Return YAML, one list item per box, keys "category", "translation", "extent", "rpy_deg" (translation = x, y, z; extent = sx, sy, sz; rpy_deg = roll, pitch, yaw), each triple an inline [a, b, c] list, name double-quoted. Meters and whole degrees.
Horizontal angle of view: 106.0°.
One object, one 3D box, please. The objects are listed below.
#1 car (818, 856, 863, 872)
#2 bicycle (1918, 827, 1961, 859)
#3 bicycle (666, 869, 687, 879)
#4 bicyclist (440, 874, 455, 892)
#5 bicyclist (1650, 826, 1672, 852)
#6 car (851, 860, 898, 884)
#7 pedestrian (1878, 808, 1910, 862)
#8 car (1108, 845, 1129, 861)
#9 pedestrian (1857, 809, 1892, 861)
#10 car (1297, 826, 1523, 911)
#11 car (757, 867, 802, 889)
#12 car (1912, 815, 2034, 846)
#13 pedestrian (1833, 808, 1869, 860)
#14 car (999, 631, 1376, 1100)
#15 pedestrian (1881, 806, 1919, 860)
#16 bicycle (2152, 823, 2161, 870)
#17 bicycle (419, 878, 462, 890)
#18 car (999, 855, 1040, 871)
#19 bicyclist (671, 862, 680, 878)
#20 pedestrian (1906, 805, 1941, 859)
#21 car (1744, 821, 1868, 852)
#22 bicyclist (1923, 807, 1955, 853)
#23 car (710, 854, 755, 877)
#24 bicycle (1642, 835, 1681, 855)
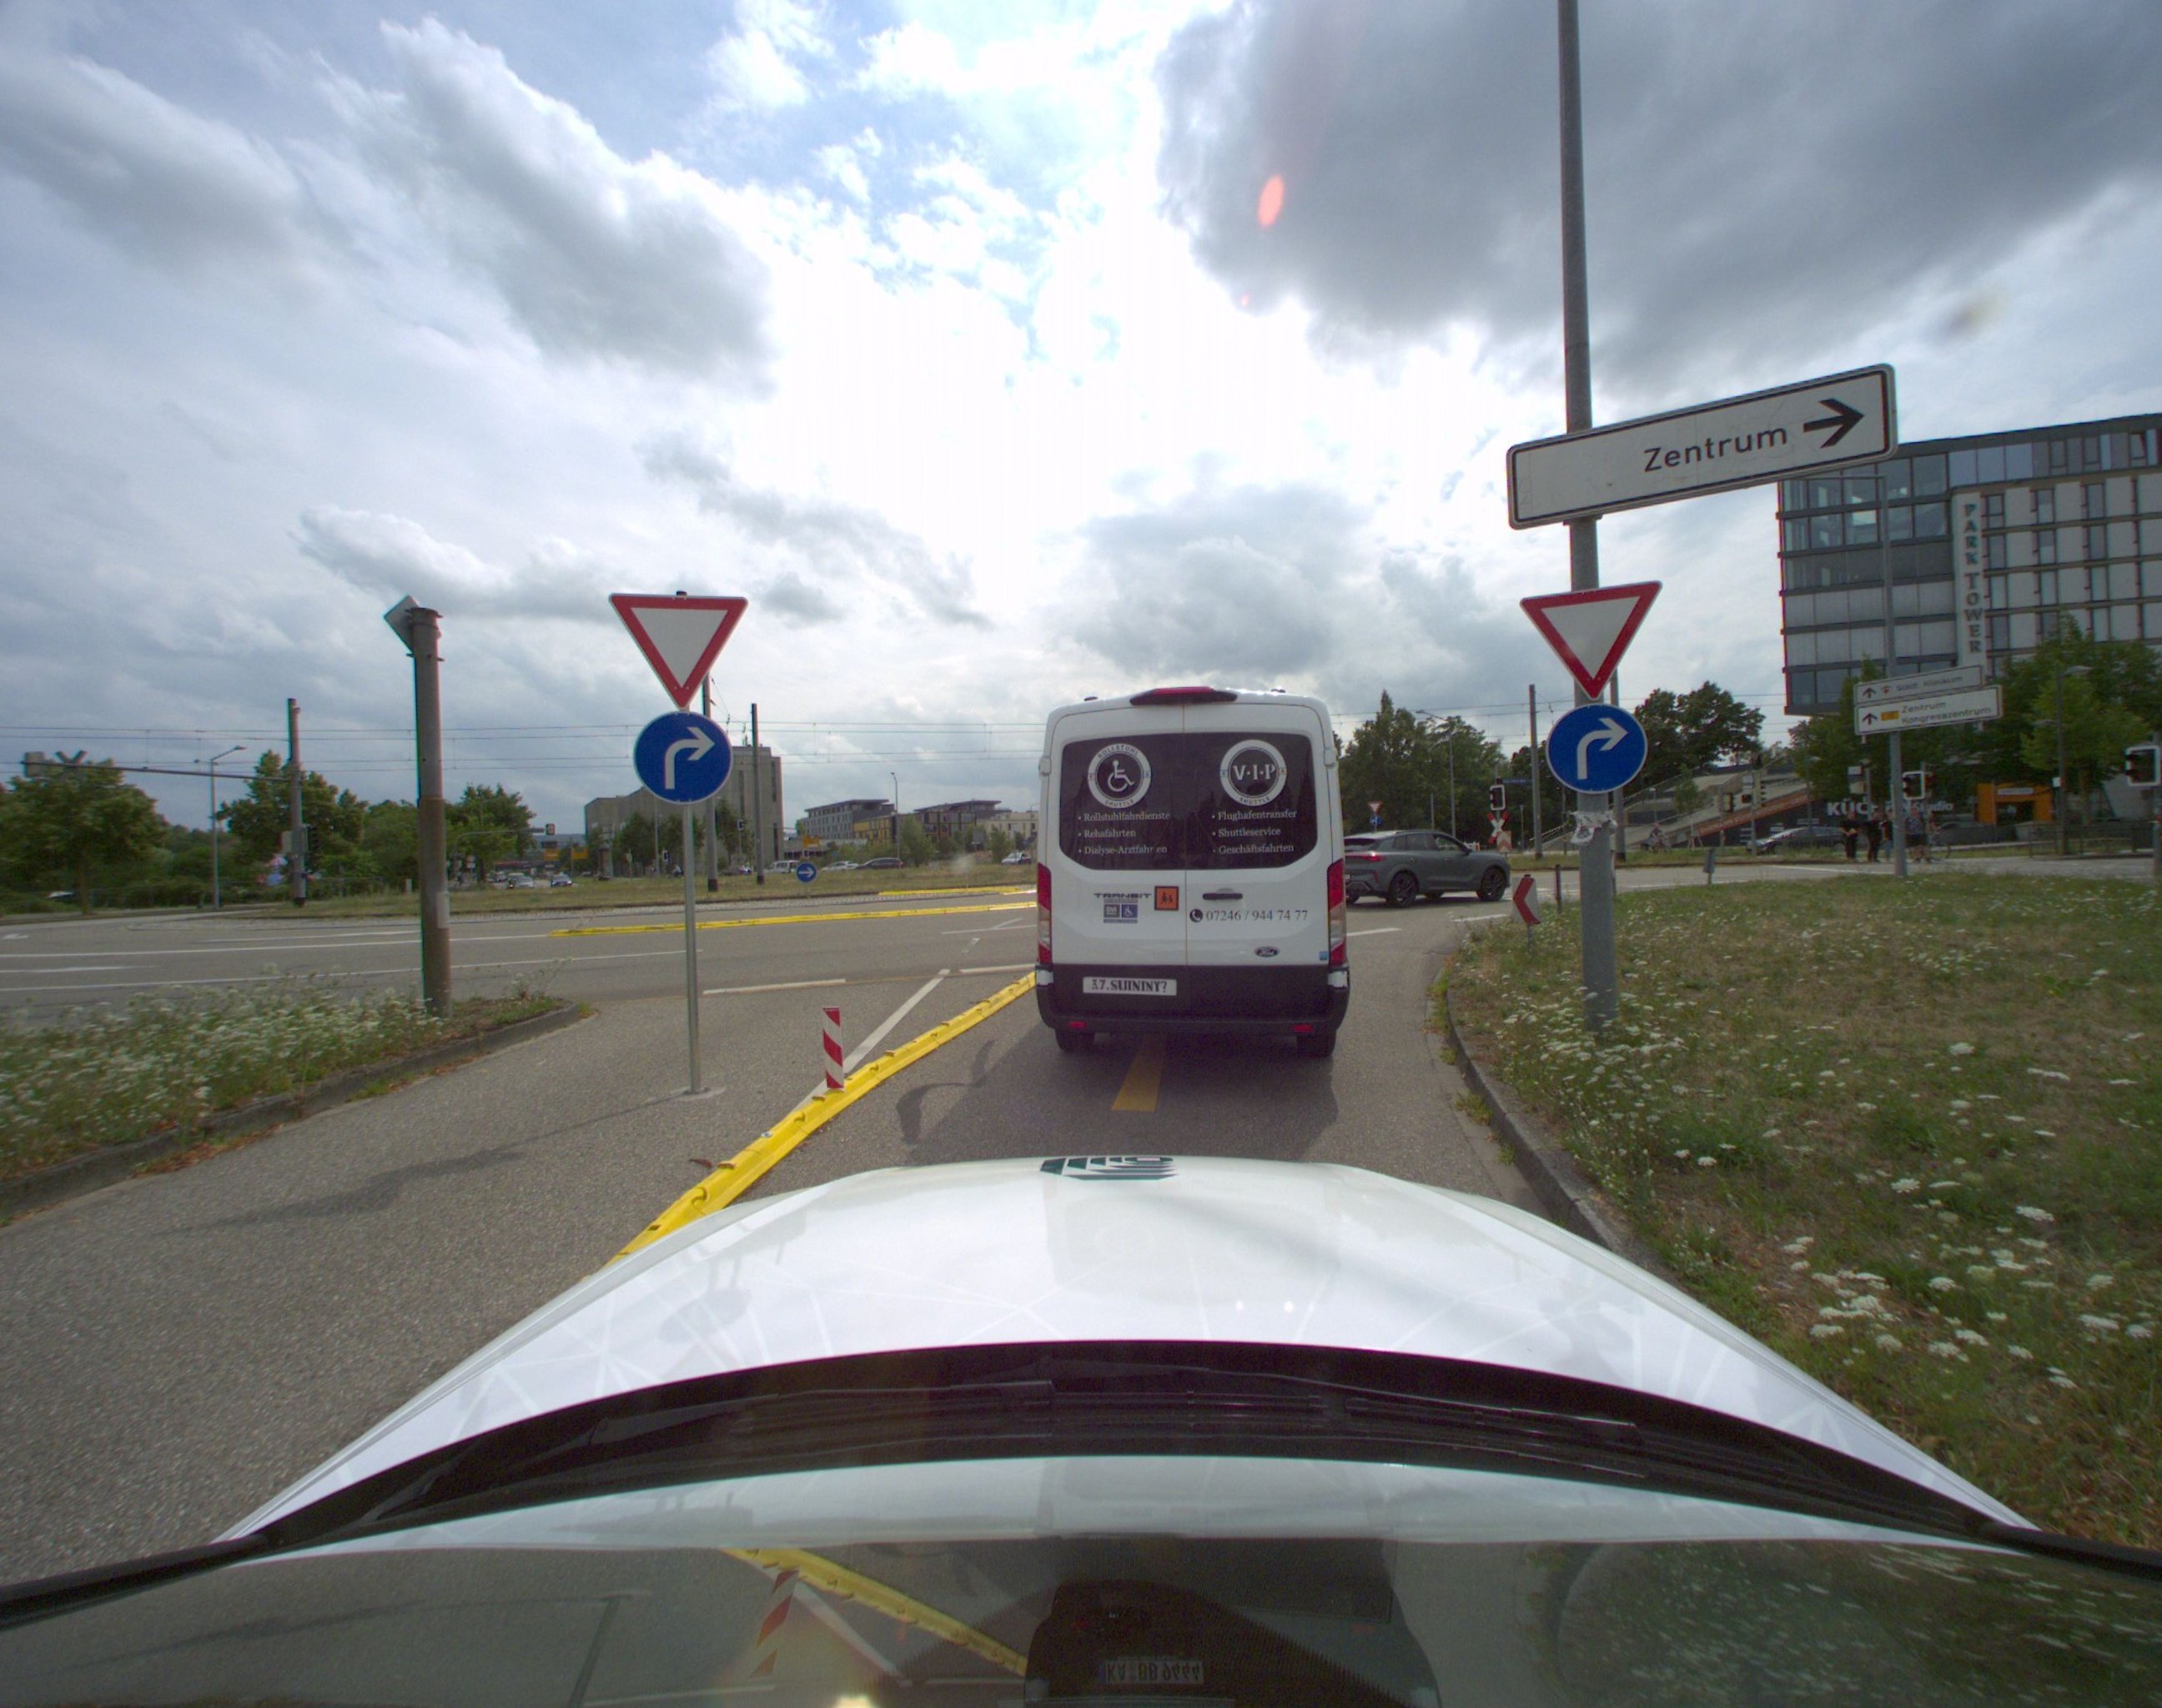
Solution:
- category: "car"
  translation: [-23.860, 1.027, 80.832]
  extent: [3.952, 1.464, 1.843]
  rpy_deg: [-2, -1, 22]
- category: "bicycle"
  translation: [30.286, -0.393, 28.738]
  extent: [0.541, 1.058, 1.724]
  rpy_deg: [-2, 0, 30]
- category: "bicycle"
  translation: [-41.113, 2.039, 82.702]
  extent: [1.834, 0.877, 0.527]
  rpy_deg: [-2, 0, -19]
- category: "bicyclist"
  translation: [-53.290, 2.434, 68.504]
  extent: [0.853, 1.409, 0.678]
  rpy_deg: [-2, 0, 35]
- category: "bicyclist"
  translation: [30.420, -0.800, 42.717]
  extent: [0.637, 1.317, 0.674]
  rpy_deg: [-2, 0, -5]
- category: "car"
  translation: [-18.302, 1.561, 72.319]
  extent: [3.994, 2.014, 1.990]
  rpy_deg: [-1, -1, -15]
- category: "pedestrian"
  translation: [28.448, -0.669, 28.508]
  extent: [0.527, 1.862, 0.554]
  rpy_deg: [-2, 0, 6]
- category: "car"
  translation: [4.867, -0.102, 105.051]
  extent: [1.979, 1.849, 4.015]
  rpy_deg: [-2, -1, 14]
- category: "pedestrian"
  translation: [27.783, -0.658, 28.511]
  extent: [0.628, 1.781, 0.554]
  rpy_deg: [-2, 0, 6]
- category: "car"
  translation: [7.221, 0.267, 17.859]
  extent: [4.482, 1.551, 2.048]
  rpy_deg: [-2, 0, -25]
- category: "car"
  translation: [-29.126, 2.329, 78.660]
  extent: [4.305, 2.014, 2.013]
  rpy_deg: [-2, -2, 36]
- category: "car"
  translation: [46.695, -1.214, 42.732]
  extent: [3.959, 1.458, 1.856]
  rpy_deg: [-2, 0, 13]
- category: "pedestrian"
  translation: [27.034, -0.690, 28.589]
  extent: [0.684, 1.781, 0.554]
  rpy_deg: [-2, 0, 6]
- category: "car"
  translation: [0.927, 0.084, 7.615]
  extent: [2.115, 2.697, 5.642]
  rpy_deg: [-2, 0, 6]
- category: "pedestrian"
  translation: [27.948, -0.716, 27.796]
  extent: [0.684, 1.781, 0.554]
  rpy_deg: [-2, 0, 6]
- category: "bicycle"
  translation: [26.897, -0.191, 19.661]
  extent: [0.781, 1.168, 2.054]
  rpy_deg: [-3, 0, 40]
- category: "bicycle"
  translation: [-53.575, 2.518, 68.121]
  extent: [0.853, 0.855, 2.676]
  rpy_deg: [-2, 0, 35]
- category: "car"
  translation: [-6.146, 0.886, 82.021]
  extent: [1.810, 1.463, 4.025]
  rpy_deg: [-3, -1, 41]
- category: "bicyclist"
  translation: [-41.184, 1.590, 82.685]
  extent: [0.650, 1.558, 0.527]
  rpy_deg: [-2, 0, -19]
- category: "pedestrian"
  translation: [28.670, -0.737, 27.715]
  extent: [0.575, 1.781, 0.554]
  rpy_deg: [-2, 0, 6]
- category: "car"
  translation: [38.918, -0.950, 43.844]
  extent: [4.690, 1.458, 1.855]
  rpy_deg: [-2, 0, 13]
- category: "bicyclist"
  translation: [30.342, -0.844, 28.799]
  extent: [0.553, 1.580, 0.770]
  rpy_deg: [-2, 0, 30]
- category: "car"
  translation: [-32.035, 1.067, 74.746]
  extent: [3.948, 2.014, 2.013]
  rpy_deg: [-2, -2, 36]
- category: "bicycle"
  translation: [30.427, -0.459, 42.698]
  extent: [0.651, 1.007, 1.753]
  rpy_deg: [-2, 0, -5]
